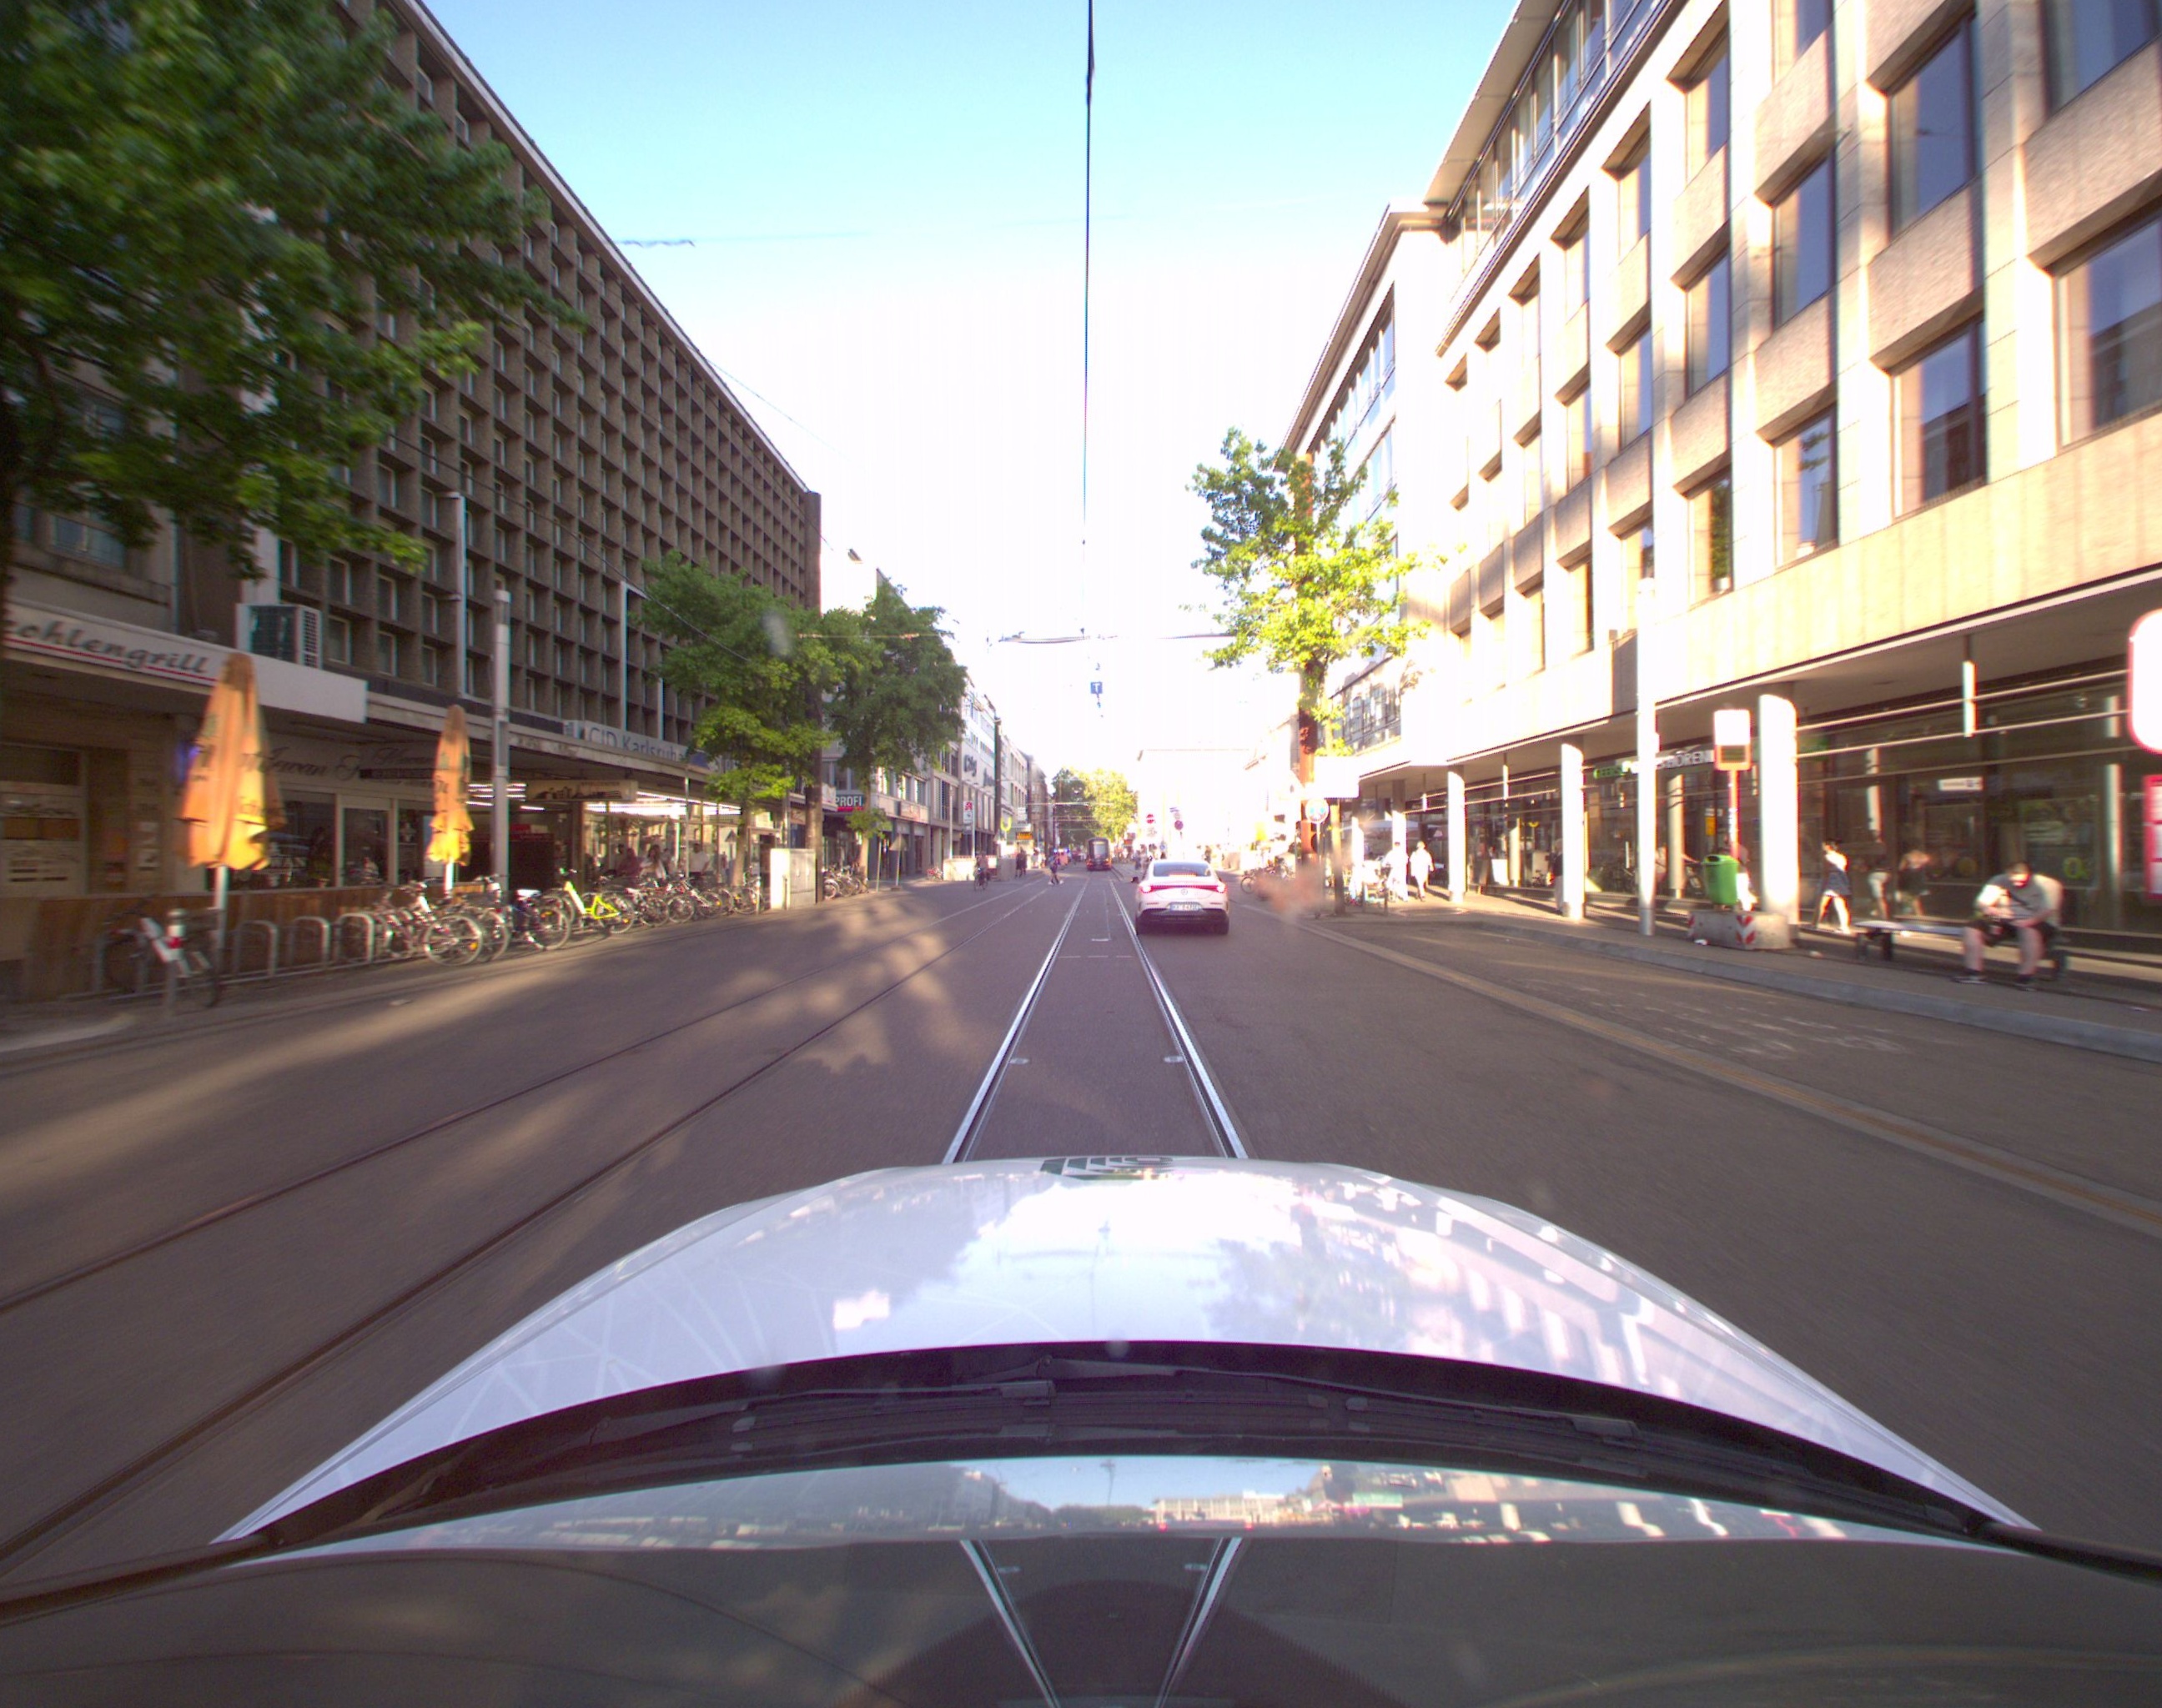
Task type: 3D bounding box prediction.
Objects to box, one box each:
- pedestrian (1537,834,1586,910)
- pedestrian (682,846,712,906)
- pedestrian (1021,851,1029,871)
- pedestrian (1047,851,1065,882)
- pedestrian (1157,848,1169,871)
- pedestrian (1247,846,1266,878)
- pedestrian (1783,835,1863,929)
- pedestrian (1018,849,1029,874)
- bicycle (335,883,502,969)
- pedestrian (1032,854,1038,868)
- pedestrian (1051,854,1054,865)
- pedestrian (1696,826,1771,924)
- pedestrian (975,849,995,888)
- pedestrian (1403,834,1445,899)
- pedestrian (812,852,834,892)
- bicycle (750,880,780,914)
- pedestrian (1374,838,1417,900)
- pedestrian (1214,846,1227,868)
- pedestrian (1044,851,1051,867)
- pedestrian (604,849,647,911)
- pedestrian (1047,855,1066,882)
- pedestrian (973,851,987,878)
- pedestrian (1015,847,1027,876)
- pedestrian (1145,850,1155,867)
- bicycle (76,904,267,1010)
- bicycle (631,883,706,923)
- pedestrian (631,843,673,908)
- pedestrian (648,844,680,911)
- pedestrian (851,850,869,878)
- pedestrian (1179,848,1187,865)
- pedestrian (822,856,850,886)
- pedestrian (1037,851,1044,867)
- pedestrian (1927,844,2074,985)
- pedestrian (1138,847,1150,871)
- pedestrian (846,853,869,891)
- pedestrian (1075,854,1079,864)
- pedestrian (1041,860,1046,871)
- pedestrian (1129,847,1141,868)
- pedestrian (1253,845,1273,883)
[{"bbox_3d":[10.664,0.397,18.096,0.634,1.653,0.781,-1,0,2],"label":"pedestrian"},{"bbox_3d":[-11.558,0.641,24.535,0.789,1.766,0.533,-1,0,-23],"label":"pedestrian"},{"bbox_3d":[-4.424,0.535,64.541,0.613,1.545,0.650,-1,0,-1],"label":"pedestrian"},{"bbox_3d":[-1.393,0.702,45.909,0.901,1.698,0.849,-1,0,2],"label":"pedestrian"},{"bbox_3d":[5.939,0.398,59.273,0.834,1.662,0.786,-1,0,3],"label":"pedestrian"},{"bbox_3d":[9.952,0.433,46.233,0.838,1.785,0.804,-2,0,1],"label":"pedestrian"},{"bbox_3d":[12.575,0.459,13.823,0.640,1.542,0.796,-1,0,1],"label":"pedestrian"},{"bbox_3d":[-3.996,0.504,56.496,0.544,1.760,0.524,-1,0,29],"label":"pedestrian"},{"bbox_3d":[-8.621,0.930,10.628,1.785,1.077,0.377,1,0,-3],"label":"bicycle"},{"bbox_3d":[-5.355,0.828,94.593,0.658,1.599,0.573,-1,0,0],"label":"pedestrian"},{"bbox_3d":[-4.325,0.853,124.155,0.412,1.630,0.606,-1,0,1],"label":"pedestrian"},{"bbox_3d":[11.968,0.375,14.963,0.713,1.741,0.835,-1,0,1],"label":"pedestrian"},{"bbox_3d":[-4.434,0.673,37.630,0.797,1.782,0.849,1,0,0],"label":"pedestrian"},{"bbox_3d":[10.033,0.349,23.844,0.698,1.812,1.033,-4,0,1],"label":"pedestrian"},{"bbox_3d":[-11.847,0.814,37.380,0.728,1.761,0.810,-1,0,-34],"label":"pedestrian"},{"bbox_3d":[-8.123,1.089,20.954,0.343,0.783,1.402,1,0,-6],"label":"bicycle"},{"bbox_3d":[9.287,0.424,24.104,0.897,1.744,0.690,-4,0,0],"label":"pedestrian"},{"bbox_3d":[11.082,0.237,64.820,0.815,1.685,0.804,-2,0,1],"label":"pedestrian"},{"bbox_3d":[-3.445,0.531,84.716,0.658,1.599,0.573,-1,0,0],"label":"pedestrian"},{"bbox_3d":[-11.698,0.654,20.939,0.713,1.547,0.683,-1,0,-5],"label":"pedestrian"},{"bbox_3d":[-1.371,0.799,45.108,0.952,1.496,0.944,-1,0,2],"label":"pedestrian"},{"bbox_3d":[-6.424,0.677,51.661,0.780,1.717,0.840,-1,0,-2],"label":"pedestrian"},{"bbox_3d":[-4.088,0.491,55.149,0.534,1.929,0.576,-1,0,45],"label":"pedestrian"},{"bbox_3d":[7.197,0.445,85.265,0.957,1.785,0.804,-2,0,0],"label":"pedestrian"},{"bbox_3d":[-8.720,0.970,7.819,1.586,0.930,0.378,1,0,7],"label":"bicycle"},{"bbox_3d":[-9.073,1.066,17.921,1.487,0.841,0.345,1,0,2],"label":"bicycle"},{"bbox_3d":[-10.988,0.543,20.895,0.713,1.639,0.683,-1,0,-5],"label":"pedestrian"},{"bbox_3d":[-11.374,0.629,22.216,0.717,1.766,0.679,-1,0,-23],"label":"pedestrian"},{"bbox_3d":[-13.542,0.599,49.990,0.819,1.706,0.980,-1,0,-1],"label":"pedestrian"},{"bbox_3d":[11.013,0.240,88.140,0.724,1.785,0.707,-1,0,1],"label":"pedestrian"},{"bbox_3d":[-12.942,0.890,43.051,0.968,1.562,1.020,-1,0,40],"label":"pedestrian"},{"bbox_3d":[-4.208,0.537,84.647,0.658,1.599,0.573,-1,0,0],"label":"pedestrian"},{"bbox_3d":[9.558,0.590,8.480,0.836,1.377,0.772,0,0,-21],"label":"pedestrian"},{"bbox_3d":[4.426,0.346,57.612,0.744,1.698,0.840,-1,0,-1],"label":"pedestrian"},{"bbox_3d":[-9.919,0.785,36.213,0.747,1.623,0.980,-1,0,-1],"label":"pedestrian"},{"bbox_3d":[-0.684,0.753,131.331,0.602,1.630,0.531,-1,0,1],"label":"pedestrian"},{"bbox_3d":[-5.937,1.828,129.063,0.605,1.630,0.413,-1,0,-15],"label":"pedestrian"},{"bbox_3d":[4.700,0.317,70.755,0.957,1.785,0.804,-2,0,0],"label":"pedestrian"},{"bbox_3d":[8.867,0.494,39.793,0.746,1.785,0.767,-2,0,1],"label":"pedestrian"}]
